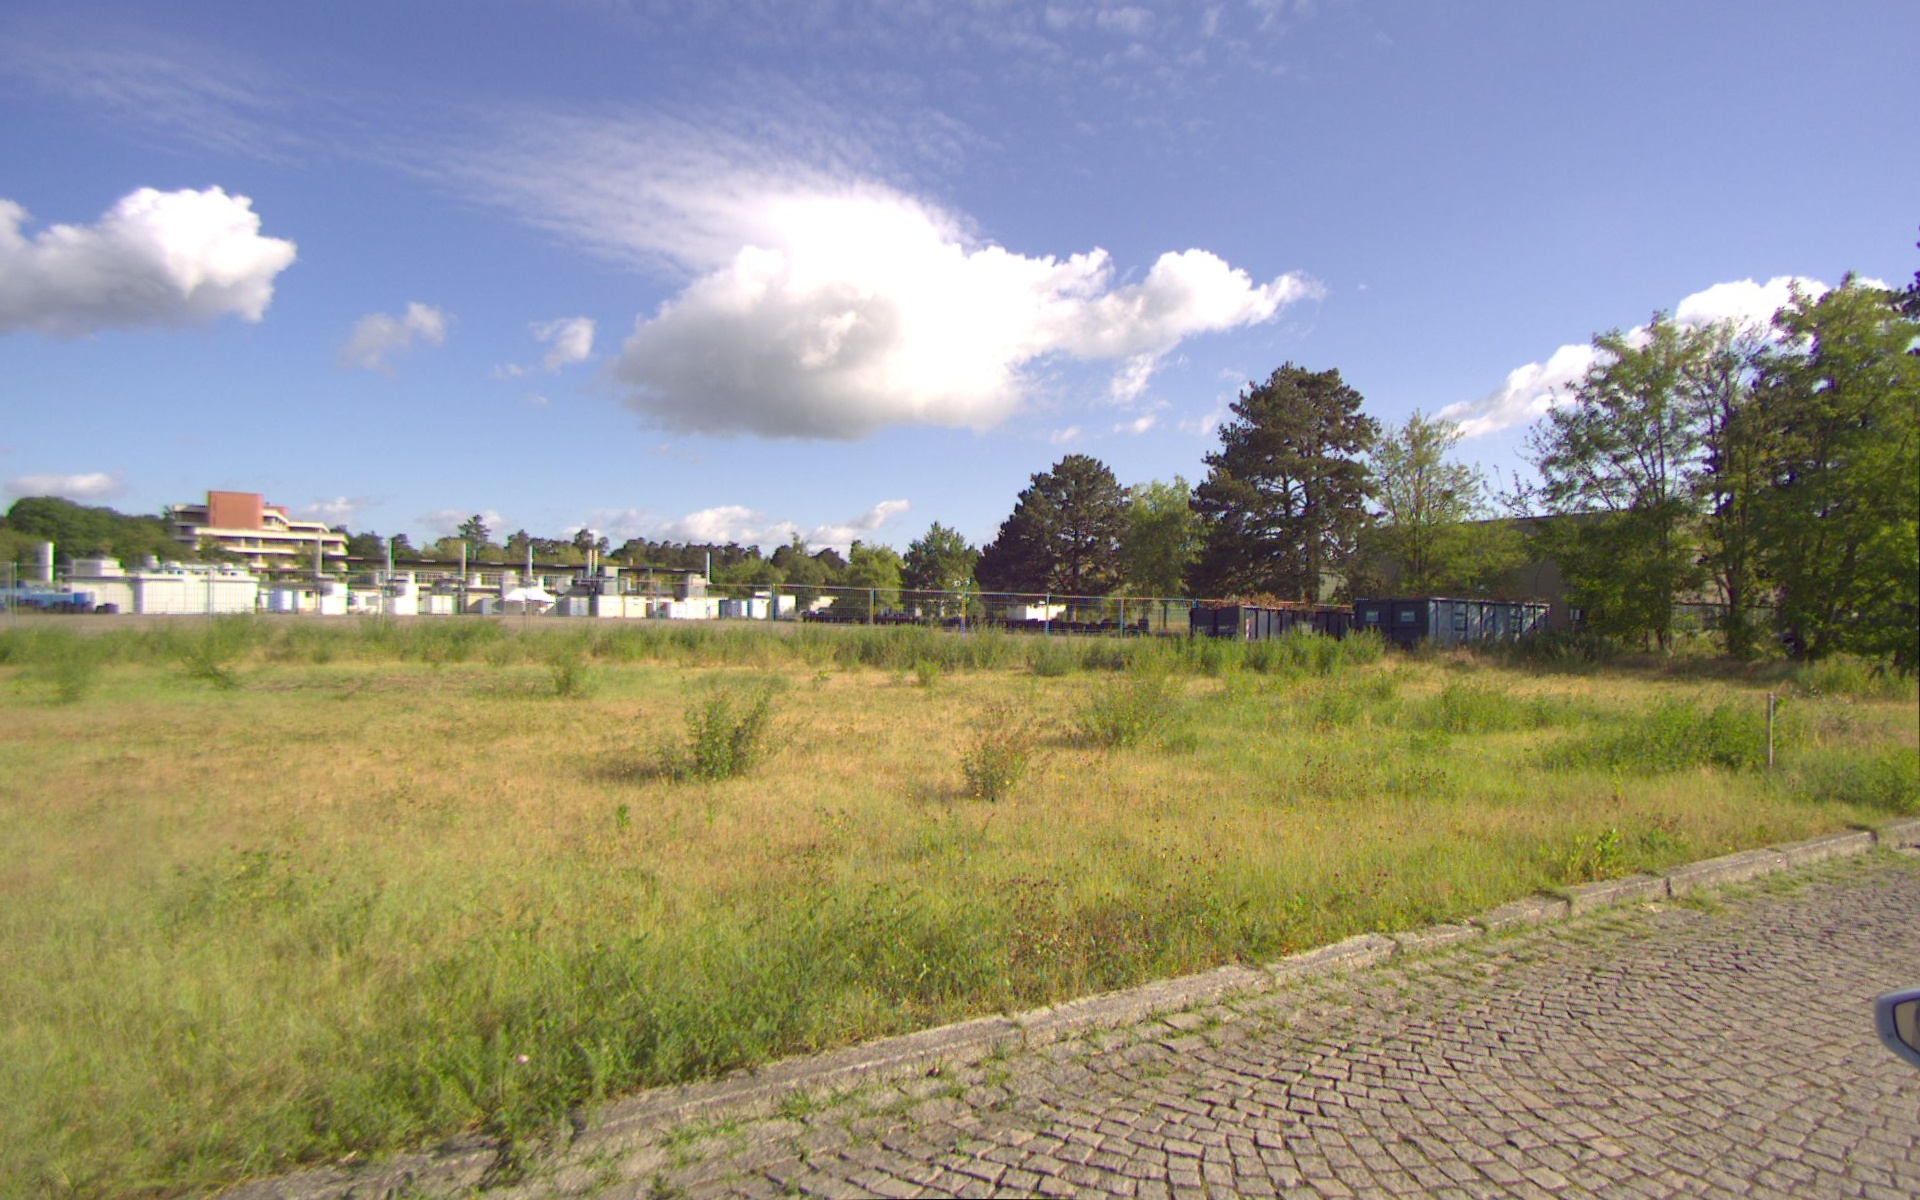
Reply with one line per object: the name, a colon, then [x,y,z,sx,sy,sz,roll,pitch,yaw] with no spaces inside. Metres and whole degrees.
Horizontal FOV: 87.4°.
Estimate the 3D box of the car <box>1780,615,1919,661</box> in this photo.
car: [34.838,1.440,39.065,1.985,1.630,4.126,1,-1,-28]
